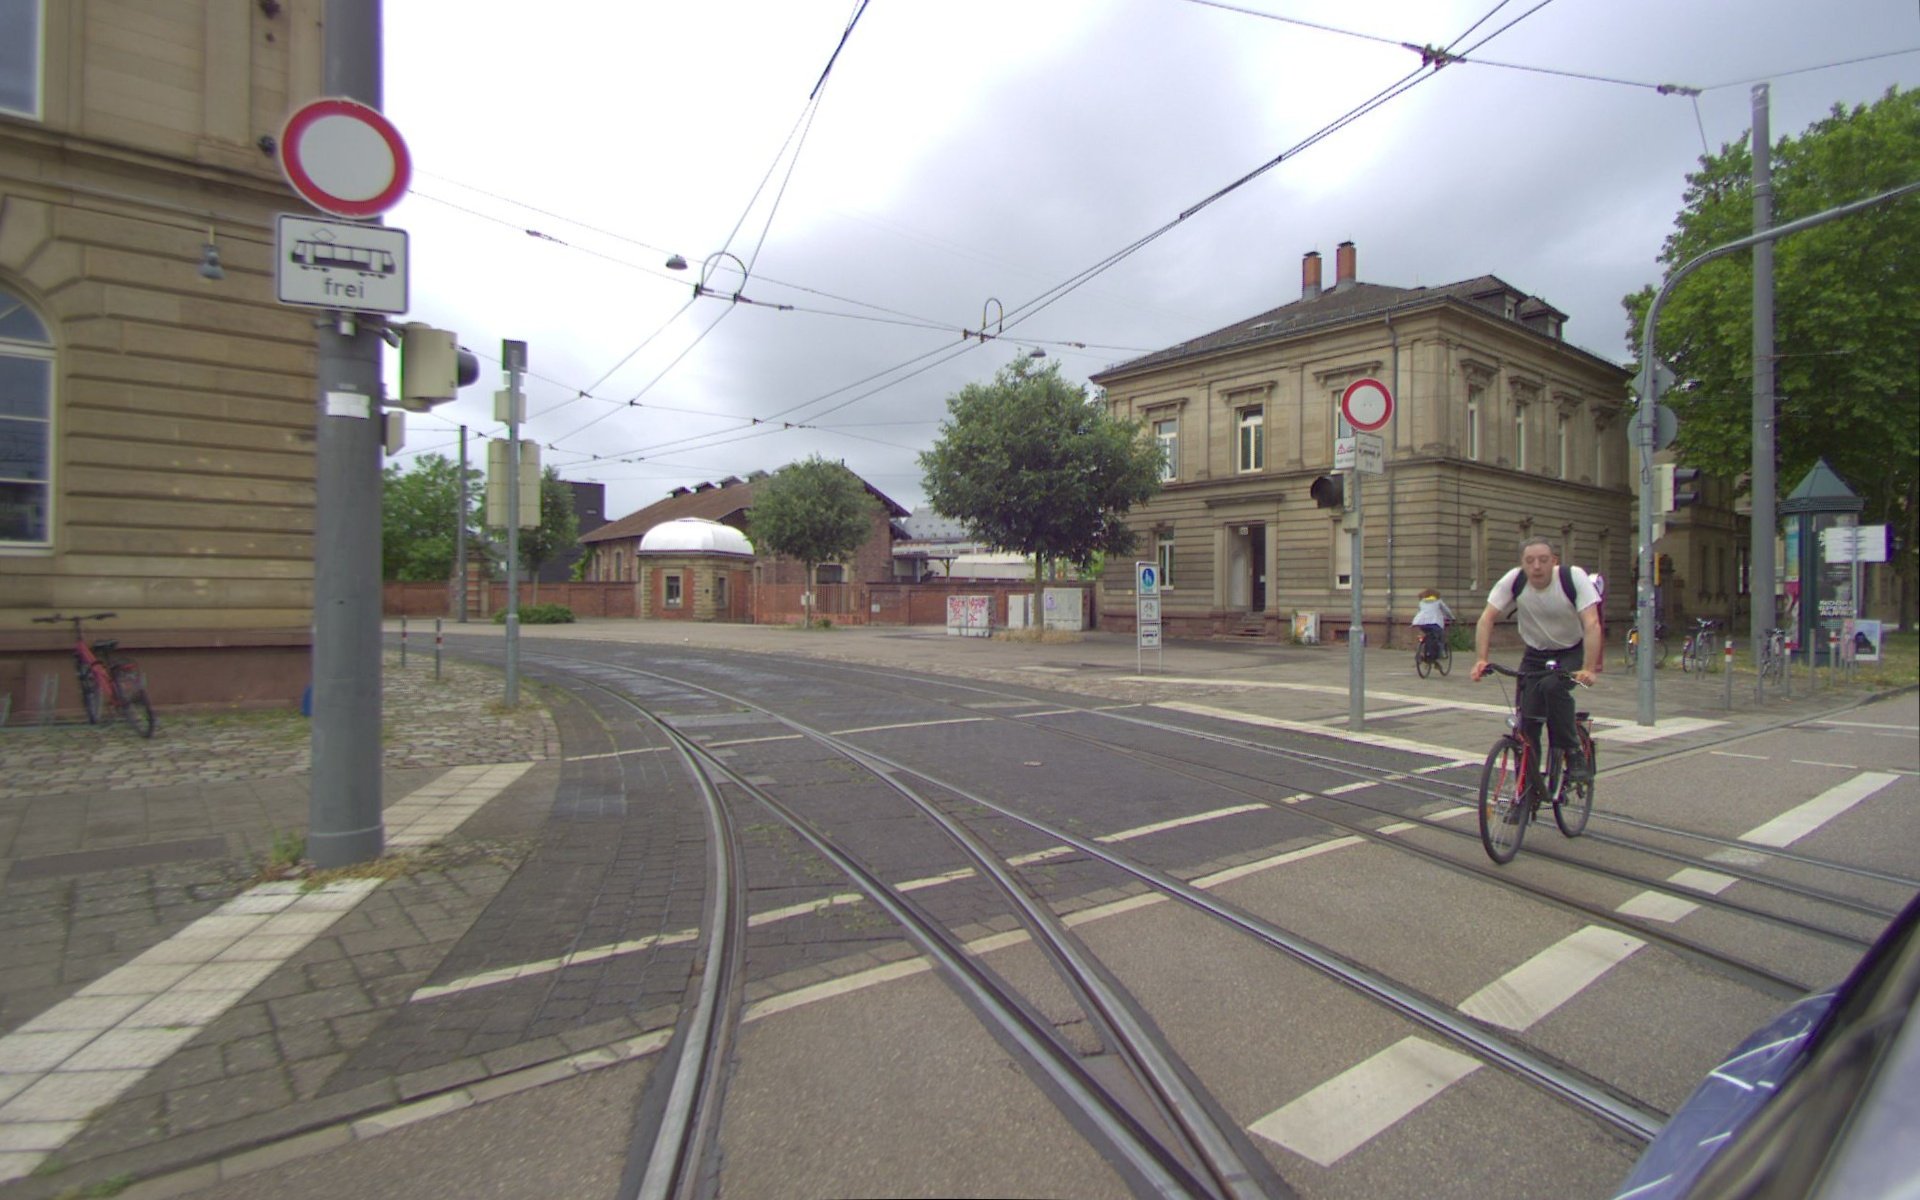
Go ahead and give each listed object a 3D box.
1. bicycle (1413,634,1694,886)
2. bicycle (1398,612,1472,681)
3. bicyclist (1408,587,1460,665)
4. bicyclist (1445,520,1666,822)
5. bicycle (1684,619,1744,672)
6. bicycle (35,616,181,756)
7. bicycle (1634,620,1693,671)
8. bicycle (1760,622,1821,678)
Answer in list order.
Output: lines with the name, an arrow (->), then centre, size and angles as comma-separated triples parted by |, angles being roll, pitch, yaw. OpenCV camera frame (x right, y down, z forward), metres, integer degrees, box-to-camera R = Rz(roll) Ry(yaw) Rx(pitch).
bicycle -> 3.693, 0.849, 6.197 | 2.237, 1.184, 0.814 | -1, 0, -41
bicycle -> 8.947, 0.846, 19.014 | 0.674, 1.179, 2.082 | 0, 0, 42
bicyclist -> 8.895, 0.465, 18.976 | 0.692, 1.417, 0.804 | 0, 0, 41
bicyclist -> 3.608, 0.372, 6.121 | 1.169, 1.620, 0.811 | 0, 0, -40
bicycle -> 16.598, 0.980, 22.266 | 1.669, 1.082, 0.718 | -1, 0, -41
bicycle -> -7.988, 0.757, 9.461 | 1.845, 1.092, 0.541 | 3, 2, 34
bicycle -> 16.086, 1.019, 23.117 | 1.669, 1.082, 0.718 | -1, 0, -41
bicycle -> 17.495, 1.029, 21.298 | 1.669, 1.082, 0.718 | -1, 0, -41
